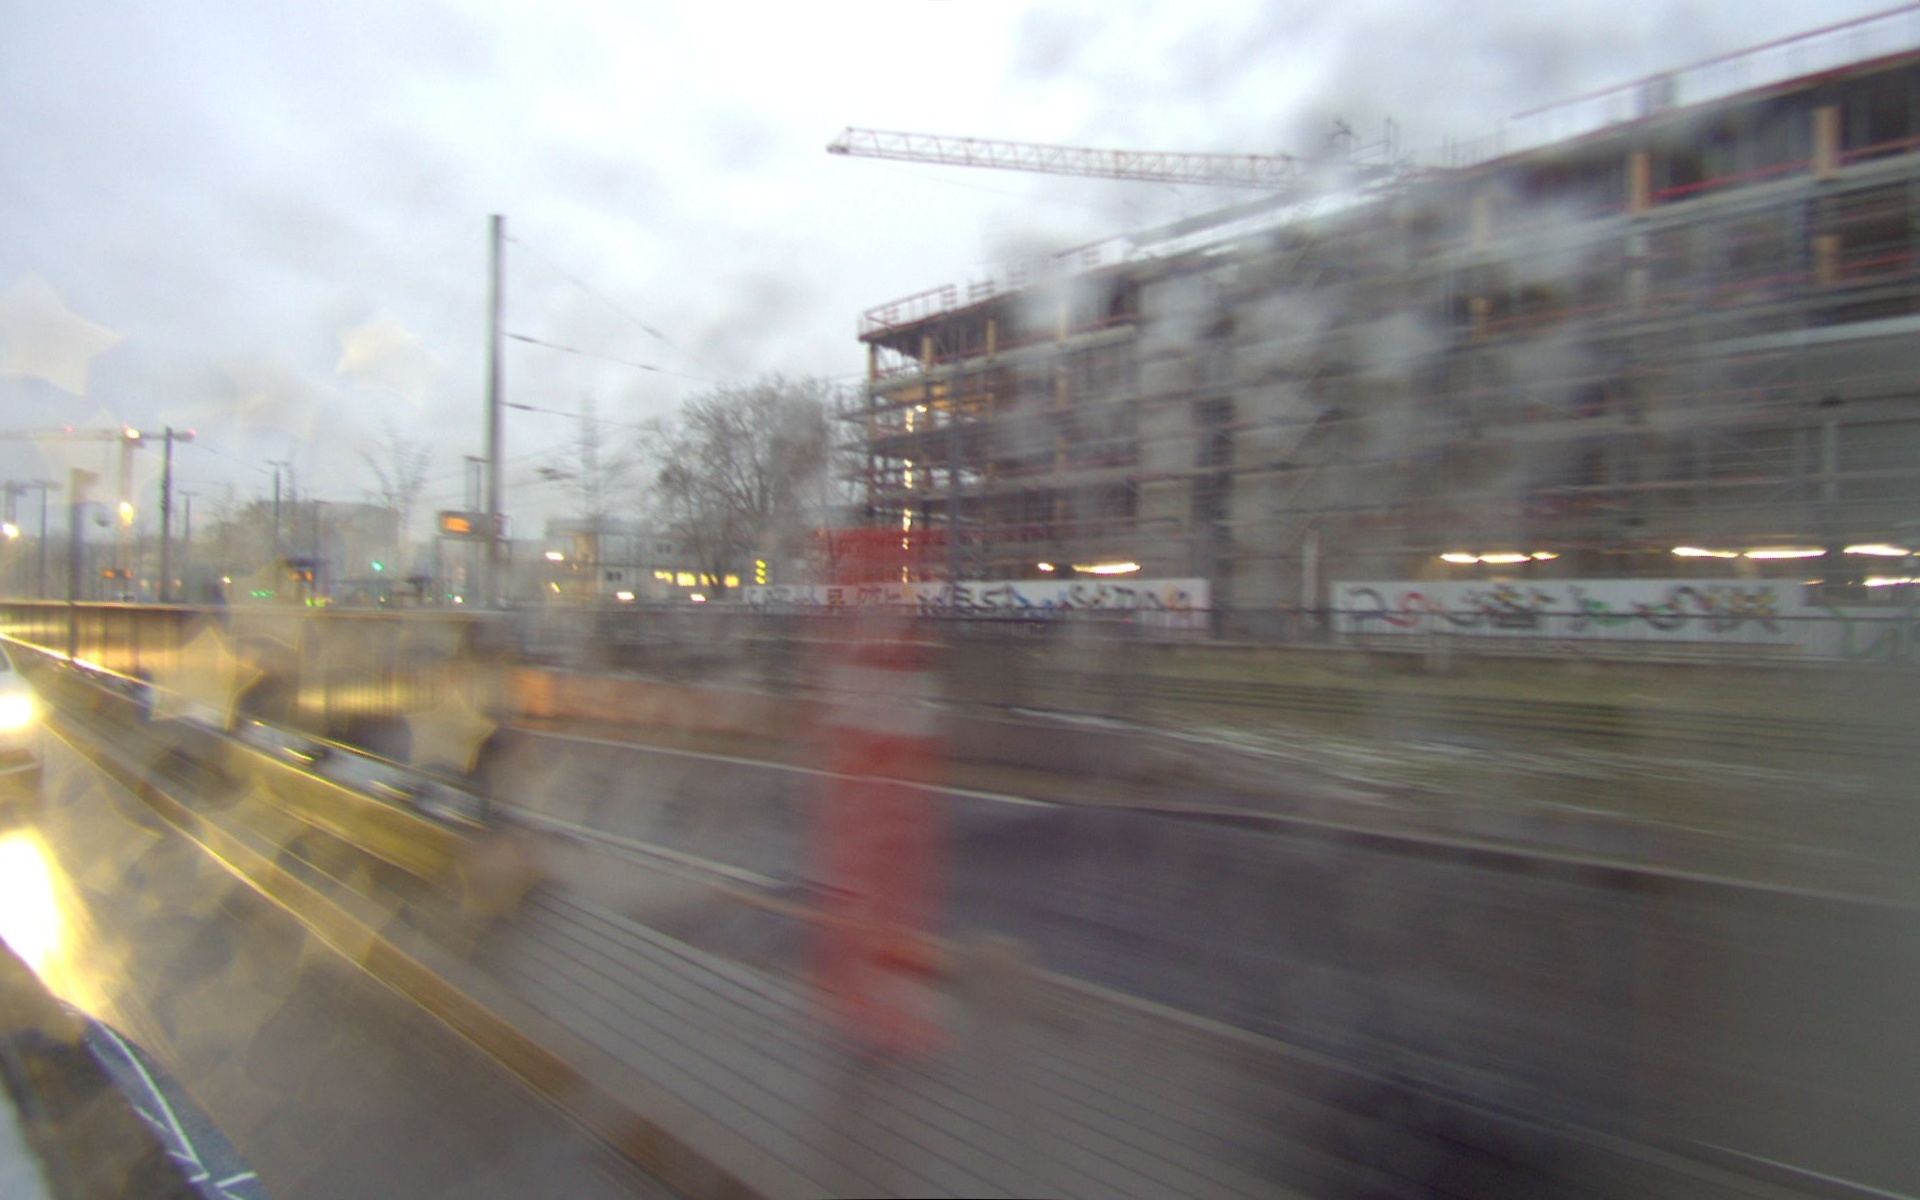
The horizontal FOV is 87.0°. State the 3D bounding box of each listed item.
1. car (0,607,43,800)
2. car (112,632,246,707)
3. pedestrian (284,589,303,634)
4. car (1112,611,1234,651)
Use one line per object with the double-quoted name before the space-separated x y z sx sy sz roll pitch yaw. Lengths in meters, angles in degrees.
"car" -9.344 0.812 8.834 1.789 1.484 4.141 0 0 -45
"car" -17.554 1.481 22.688 4.006 1.464 1.784 -1 -2 44
"pedestrian" -25.781 0.442 39.125 0.576 1.714 0.742 0 0 -36
"car" 8.108 1.170 38.815 4.341 1.425 1.664 -1 -1 44
